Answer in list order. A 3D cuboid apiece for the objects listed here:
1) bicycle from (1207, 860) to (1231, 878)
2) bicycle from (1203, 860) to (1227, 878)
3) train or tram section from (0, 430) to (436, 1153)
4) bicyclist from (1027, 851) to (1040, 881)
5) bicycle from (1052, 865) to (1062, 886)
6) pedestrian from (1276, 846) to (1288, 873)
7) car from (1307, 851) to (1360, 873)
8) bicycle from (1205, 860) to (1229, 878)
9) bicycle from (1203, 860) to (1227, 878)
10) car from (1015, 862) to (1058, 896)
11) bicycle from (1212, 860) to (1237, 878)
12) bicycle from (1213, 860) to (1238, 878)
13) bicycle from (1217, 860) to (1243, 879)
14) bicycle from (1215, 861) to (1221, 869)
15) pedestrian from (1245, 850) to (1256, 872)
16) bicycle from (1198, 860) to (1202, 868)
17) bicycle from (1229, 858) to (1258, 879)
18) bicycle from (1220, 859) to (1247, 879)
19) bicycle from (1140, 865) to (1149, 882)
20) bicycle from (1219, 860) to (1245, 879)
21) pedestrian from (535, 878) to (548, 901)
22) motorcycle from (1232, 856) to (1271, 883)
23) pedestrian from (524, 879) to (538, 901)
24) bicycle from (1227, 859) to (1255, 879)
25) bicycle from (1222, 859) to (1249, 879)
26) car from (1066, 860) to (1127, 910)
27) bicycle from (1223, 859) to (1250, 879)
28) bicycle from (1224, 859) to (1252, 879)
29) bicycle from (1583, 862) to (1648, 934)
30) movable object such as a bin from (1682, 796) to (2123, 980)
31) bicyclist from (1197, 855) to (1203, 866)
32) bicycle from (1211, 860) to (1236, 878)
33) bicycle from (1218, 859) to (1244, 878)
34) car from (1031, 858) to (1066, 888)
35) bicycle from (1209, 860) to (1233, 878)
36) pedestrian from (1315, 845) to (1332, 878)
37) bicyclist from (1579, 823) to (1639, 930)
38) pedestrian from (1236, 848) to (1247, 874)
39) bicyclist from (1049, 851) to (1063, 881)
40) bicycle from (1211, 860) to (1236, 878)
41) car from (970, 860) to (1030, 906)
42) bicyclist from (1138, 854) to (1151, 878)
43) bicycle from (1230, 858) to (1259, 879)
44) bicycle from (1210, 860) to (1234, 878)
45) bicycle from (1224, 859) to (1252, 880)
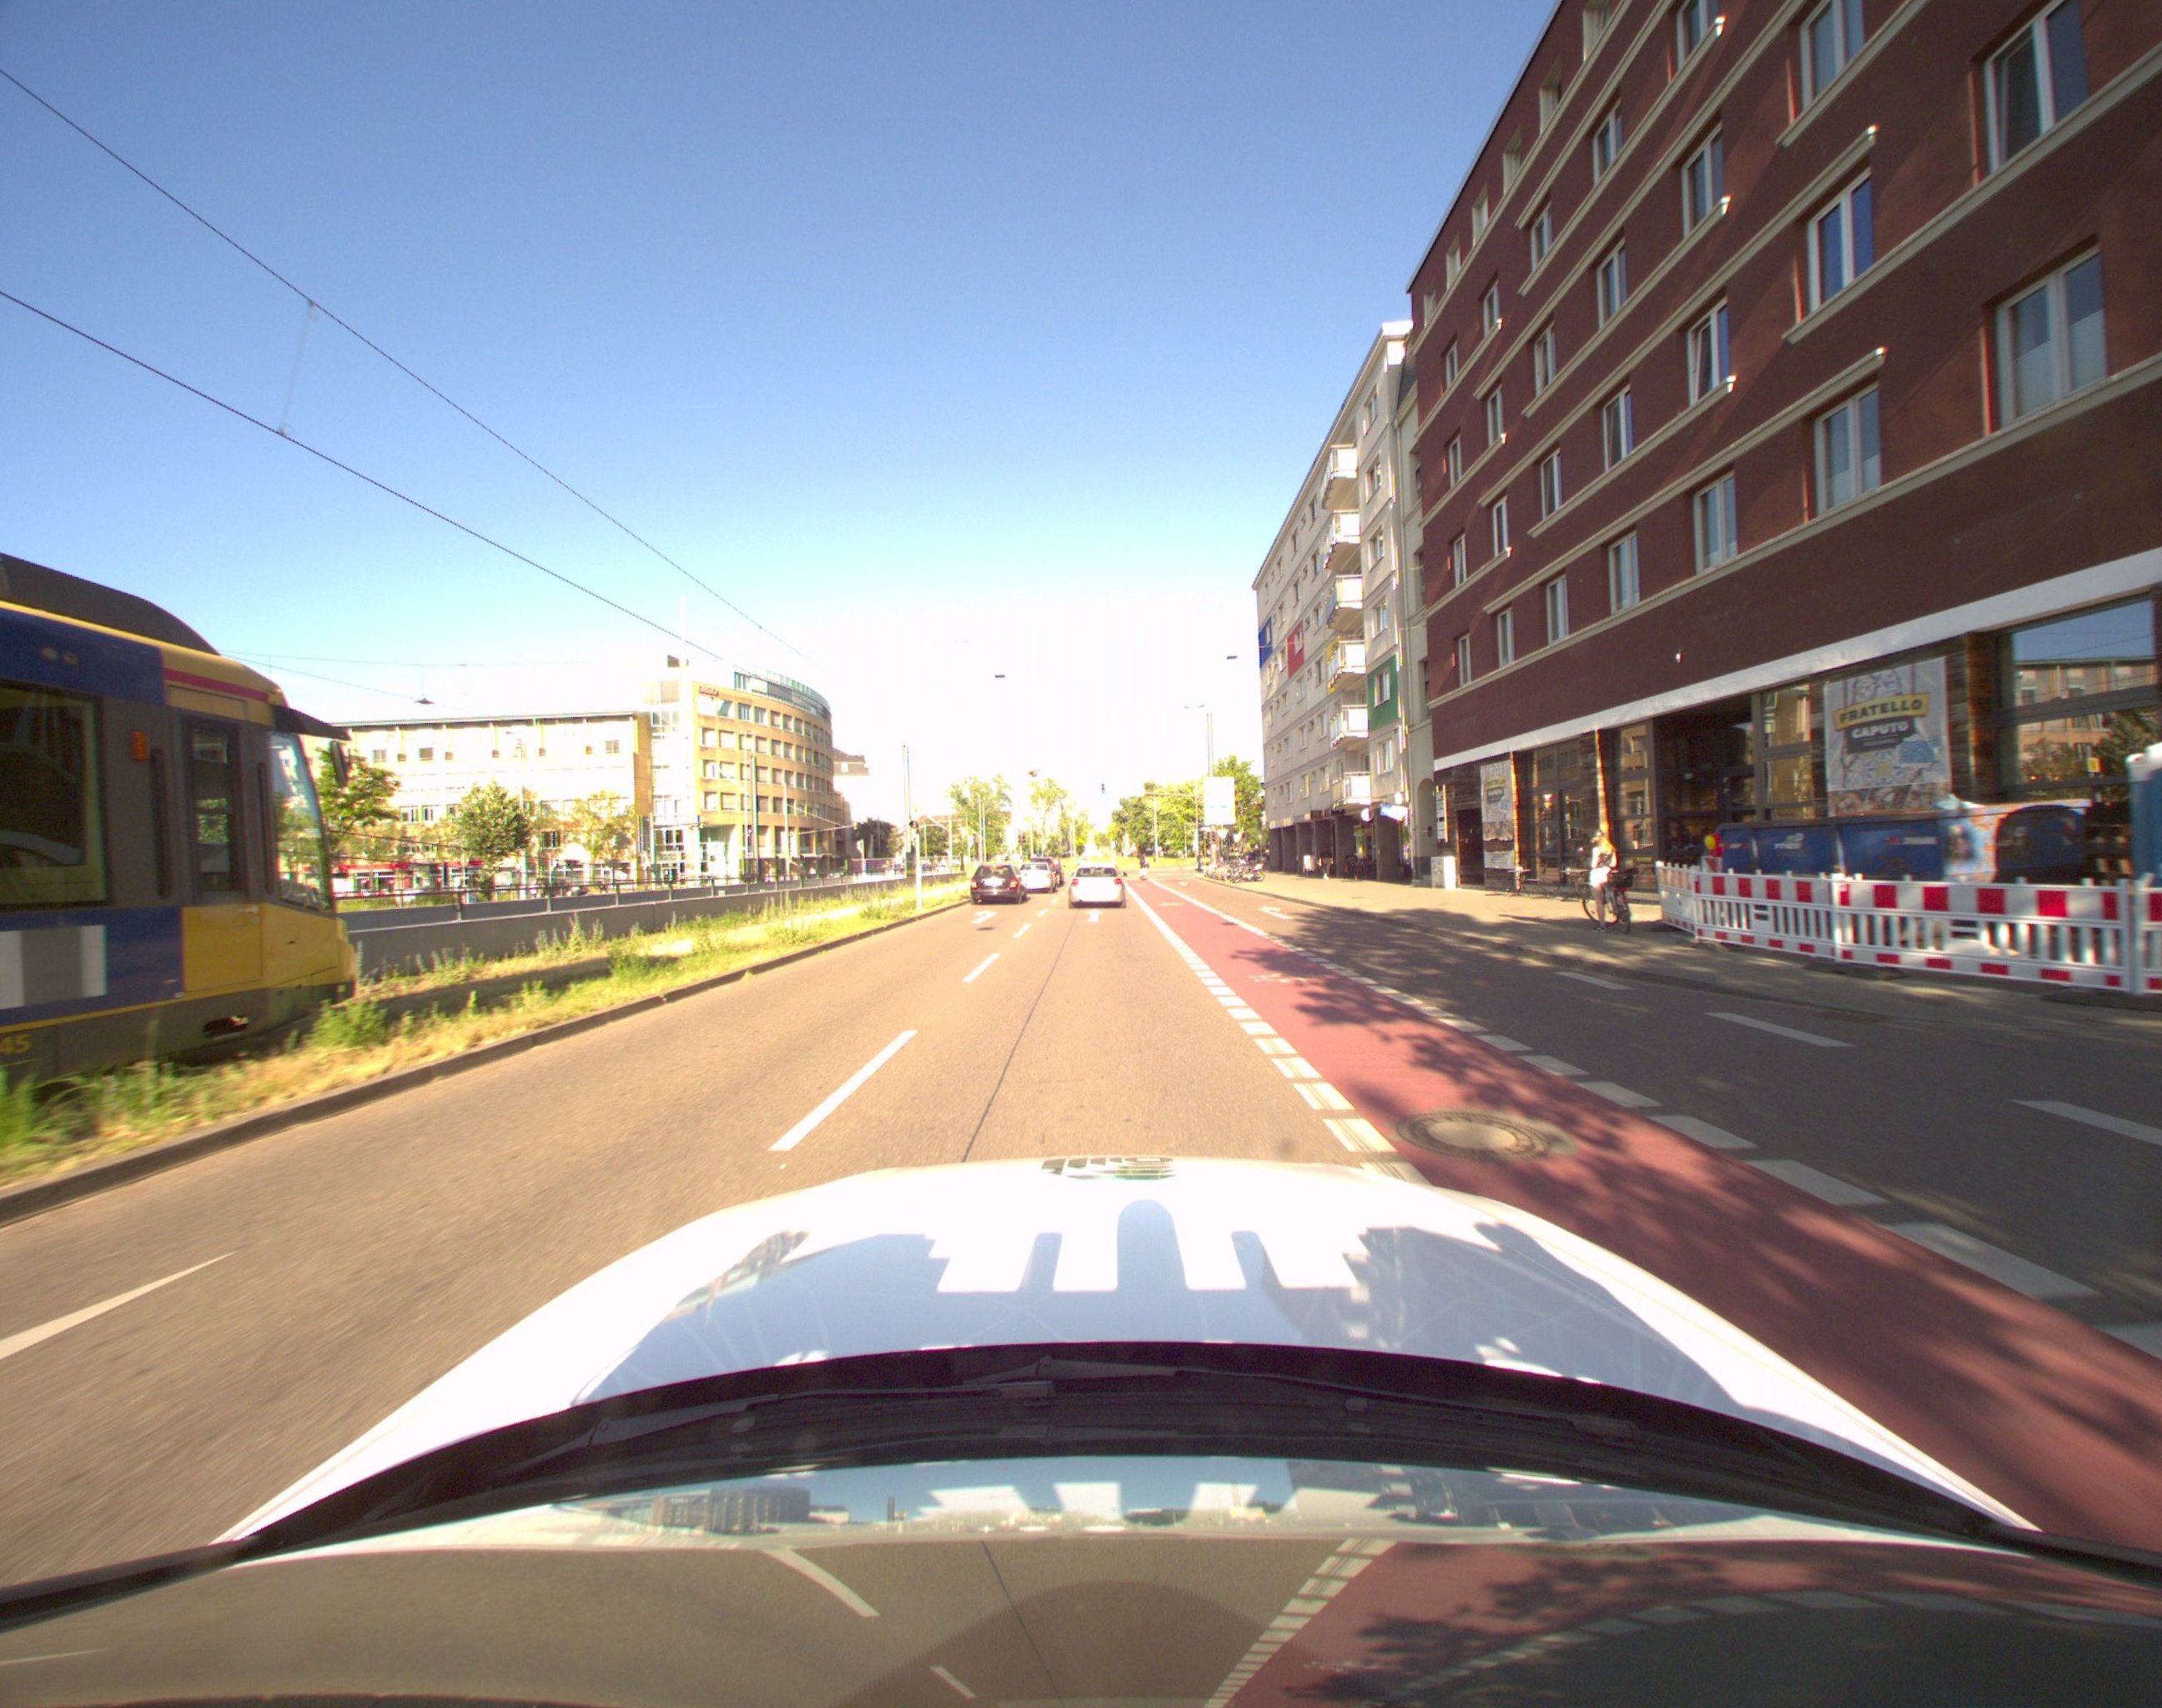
[{"bbox_3d":[8.954,0.980,52.948,1.459,1.067,0.257,-3,-1,3],"label":"bicycle"},{"bbox_3d":[8.885,1.002,53.976,1.459,1.067,0.257,-3,-1,3],"label":"bicycle"},{"bbox_3d":[-7.339,-0.356,1.865,2.942,3.897,10.803,0,-1,1],"label":"train or tram section"},{"bbox_3d":[-2.497,0.645,42.892,0.614,1.572,0.687,0,-1,3],"label":"bicyclist"},{"bbox_3d":[-1.271,1.107,43.042,0.338,1.056,1.773,-2,0,-8],"label":"bicycle"},{"bbox_3d":[15.348,0.437,62.223,0.838,2.014,0.892,0,-1,11],"label":"pedestrian"},{"bbox_3d":[23.518,0.748,75.967,4.344,2.014,1.974,0,-1,2],"label":"car"},{"bbox_3d":[8.897,0.975,53.275,1.459,1.067,0.257,-3,-1,3],"label":"bicycle"},{"bbox_3d":[8.818,0.997,53.639,1.459,1.067,0.257,-3,-1,3],"label":"bicycle"},{"bbox_3d":[-1.983,1.094,37.178,1.638,1.421,4.001,-1,-1,1],"label":"car"},{"bbox_3d":[8.915,0.937,50.616,1.459,1.067,0.257,-3,-1,3],"label":"bicycle"},{"bbox_3d":[8.873,0.919,49.997,1.459,1.067,0.257,-3,-1,3],"label":"bicycle"},{"bbox_3d":[8.878,0.912,48.646,1.459,1.067,0.257,-3,-1,3],"label":"bicycle"},{"bbox_3d":[16.395,1.330,97.392,0.415,1.008,1.945,0,-1,1],"label":"bicycle"},{"bbox_3d":[13.866,0.576,66.639,0.819,1.856,0.921,-1,-1,16],"label":"pedestrian"},{"bbox_3d":[14.908,1.286,102.192,0.350,0.958,1.574,0,-1,3],"label":"bicycle"},{"bbox_3d":[8.865,0.802,44.483,1.459,1.067,0.257,-3,-1,3],"label":"bicycle"},{"bbox_3d":[8.915,0.892,47.589,1.459,1.067,0.257,-3,-1,3],"label":"bicycle"},{"bbox_3d":[4.084,1.232,52.628,0.497,1.088,1.997,0,-1,2],"label":"bicycle"},{"bbox_3d":[8.895,0.896,47.935,1.459,1.067,0.257,-3,-1,3],"label":"bicycle"},{"bbox_3d":[-35.718,2.336,53.939,0.441,1.531,0.568,0,-1,1],"label":"pedestrian"},{"bbox_3d":[8.831,0.801,42.218,1.846,1.301,0.653,-3,-1,4],"label":"motorcycle"},{"bbox_3d":[-36.615,2.398,54.190,0.610,1.428,0.490,0,-1,1],"label":"pedestrian"},{"bbox_3d":[8.853,0.831,45.083,1.459,1.067,0.257,-3,-1,3],"label":"bicycle"},{"bbox_3d":[8.906,0.882,46.888,1.459,1.067,0.257,-3,-1,3],"label":"bicycle"},{"bbox_3d":[0.509,0.941,26.432,1.791,1.415,4.001,-2,0,1],"label":"car"},{"bbox_3d":[8.897,0.869,46.544,1.459,1.067,0.257,-3,-1,3],"label":"bicycle"},{"bbox_3d":[8.885,0.865,46.171,1.459,1.067,0.257,-3,-1,3],"label":"bicycle"},{"bbox_3d":[8.788,0.691,13.449,0.315,1.085,1.691,-2,0,14],"label":"bicycle"},{"bbox_3d":[9.924,0.332,10.277,1.942,1.843,3.475,-2,1,-4],"label":"movable object such as a bin"},{"bbox_3d":[14.896,0.831,102.065,0.614,1.380,0.687,0,-1,3],"label":"bicyclist"},{"bbox_3d":[8.921,0.922,50.931,1.459,1.067,0.257,-3,-1,3],"label":"bicycle"},{"bbox_3d":[8.883,0.879,48.279,1.459,1.067,0.257,-3,-1,3],"label":"bicycle"},{"bbox_3d":[-1.855,1.085,47.375,1.698,1.622,4.001,-2,0,1],"label":"car"},{"bbox_3d":[8.911,0.960,51.897,1.459,1.067,0.257,-3,-1,3],"label":"bicycle"},{"bbox_3d":[11.935,0.365,40.134,0.570,1.582,0.557,-4,-1,1],"label":"pedestrian"},{"bbox_3d":[8.668,0.363,13.384,0.597,1.690,0.599,-2,-1,12],"label":"bicyclist"},{"bbox_3d":[12.832,0.571,65.110,0.786,2.014,0.872,0,-1,8],"label":"pedestrian"},{"bbox_3d":[-1.325,0.614,43.056,0.616,1.572,0.684,-2,-1,-10],"label":"bicyclist"},{"bbox_3d":[8.950,0.959,51.269,1.459,1.067,0.257,-3,-1,3],"label":"bicycle"},{"bbox_3d":[-2.827,0.984,29.249,1.721,1.470,4.408,-2,-1,-1],"label":"car"},{"bbox_3d":[4.126,0.784,52.636,0.782,1.531,0.895,0,-1,1],"label":"bicyclist"},{"bbox_3d":[8.832,0.808,44.098,1.459,1.067,0.257,-3,-1,3],"label":"bicycle"},{"bbox_3d":[8.918,0.961,51.579,1.459,1.067,0.257,-3,-1,3],"label":"bicycle"},{"bbox_3d":[8.790,0.853,45.492,1.459,1.067,0.257,-3,-1,3],"label":"bicycle"}]
